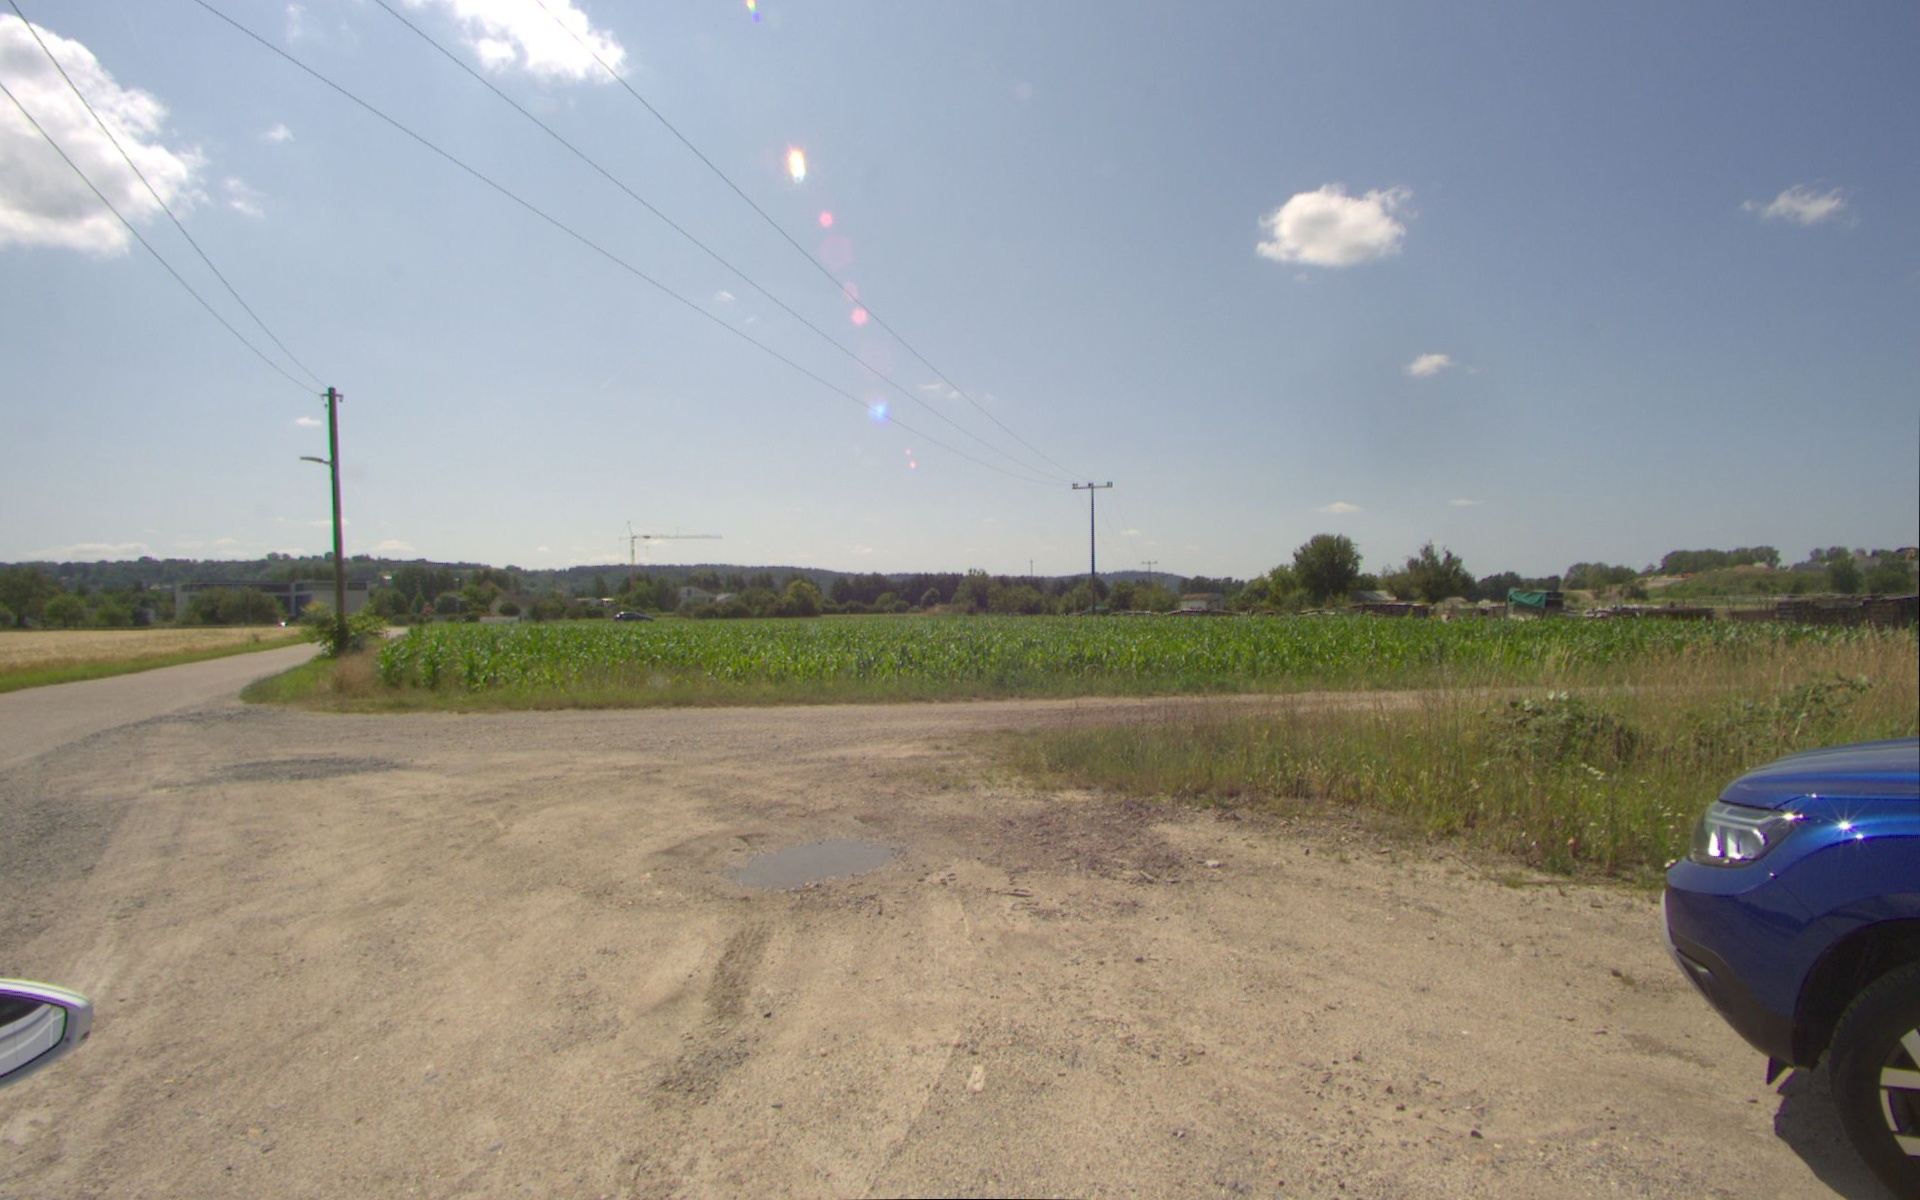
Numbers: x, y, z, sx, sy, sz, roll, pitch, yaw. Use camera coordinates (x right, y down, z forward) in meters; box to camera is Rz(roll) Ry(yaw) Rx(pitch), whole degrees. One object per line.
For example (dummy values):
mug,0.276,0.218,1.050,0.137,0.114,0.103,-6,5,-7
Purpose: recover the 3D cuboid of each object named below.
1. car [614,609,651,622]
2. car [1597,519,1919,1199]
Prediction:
car,-41.151,1.915,125.982,4.214,1.522,1.814,-1,0,-14
car,3.945,0.619,1.760,1.843,1.682,4.423,1,-2,-39
